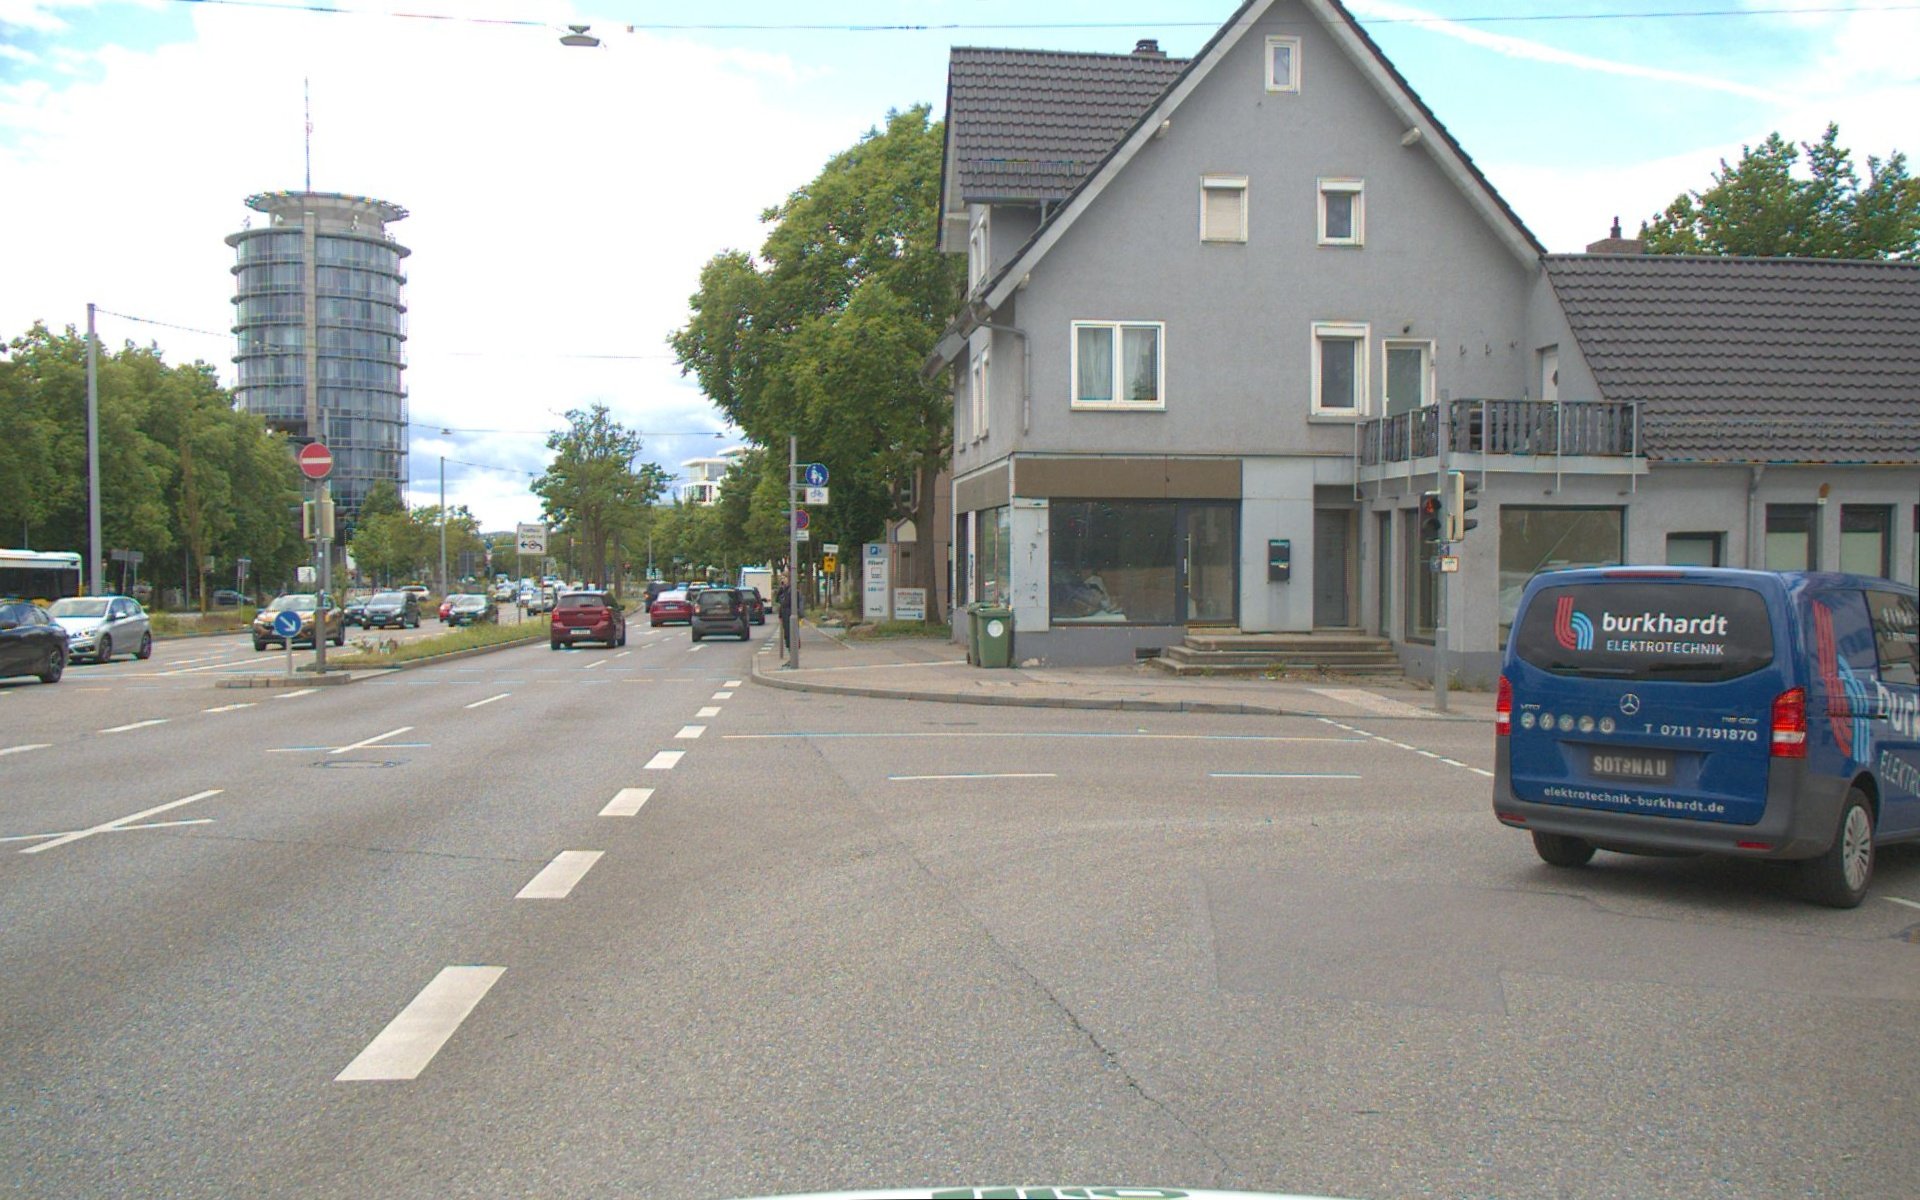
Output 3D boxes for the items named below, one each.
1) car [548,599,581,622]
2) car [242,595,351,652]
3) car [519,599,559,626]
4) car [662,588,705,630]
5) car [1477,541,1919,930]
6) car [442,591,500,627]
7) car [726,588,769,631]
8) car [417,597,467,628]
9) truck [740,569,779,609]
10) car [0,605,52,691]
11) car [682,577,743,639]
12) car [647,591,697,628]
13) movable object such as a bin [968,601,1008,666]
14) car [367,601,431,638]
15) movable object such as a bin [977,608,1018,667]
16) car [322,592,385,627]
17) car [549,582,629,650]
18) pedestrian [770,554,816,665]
[{"bbox_3d":[-28.270,0.729,118.287,1.956,1.601,3.992,-1,0,-8],"label":"car"},{"bbox_3d":[-18.811,0.640,47.082,1.956,1.542,3.992,-1,0,-8],"label":"car"},{"bbox_3d":[-26.108,0.750,102.691,1.956,1.601,3.992,-1,0,-8],"label":"car"},{"bbox_3d":[-14.528,0.448,86.763,1.960,2.049,3.986,1,1,-14],"label":"car"},{"bbox_3d":[5.336,0.712,10.822,1.921,2.000,4.509,0,0,44],"label":"car"},{"bbox_3d":[-22.607,0.392,76.628,1.956,1.601,3.993,-1,0,-8],"label":"car"},{"bbox_3d":[-8.936,0.374,69.530,1.713,1.753,3.994,-1,0,-7],"label":"car"},{"bbox_3d":[-27.888,0.659,89.196,1.956,1.601,3.992,-1,0,-8],"label":"car"},{"bbox_3d":[-11.538,-0.616,95.516,1.955,2.203,5.553,2,0,-5],"label":"truck"},{"bbox_3d":[-16.326,0.779,26.583,1.960,1.355,4.428,-1,0,-14],"label":"car"},{"bbox_3d":[-7.331,0.227,49.217,1.713,1.753,3.993,-1,0,-8],"label":"car"},{"bbox_3d":[-12.238,0.400,70.145,1.836,1.512,3.986,0,-1,-13],"label":"car"},{"bbox_3d":[0.487,0.582,29.059,0.586,1.120,0.571,0,0,-13],"label":"movable object such as a bin"},{"bbox_3d":[-25.086,0.840,74.064,1.956,1.601,3.993,-1,0,-8],"label":"car"},{"bbox_3d":[0.639,0.642,28.474,0.586,1.004,0.571,0,0,-13],"label":"movable object such as a bin"},{"bbox_3d":[-28.780,0.422,78.614,1.956,1.601,3.993,-1,0,-8],"label":"car"},{"bbox_3d":[-9.954,0.402,44.663,1.713,1.753,3.994,-1,0,-7],"label":"car"},{"bbox_3d":[-3.124,0.174,31.030,0.756,2.049,0.877,0,0,-1],"label":"pedestrian"}]
